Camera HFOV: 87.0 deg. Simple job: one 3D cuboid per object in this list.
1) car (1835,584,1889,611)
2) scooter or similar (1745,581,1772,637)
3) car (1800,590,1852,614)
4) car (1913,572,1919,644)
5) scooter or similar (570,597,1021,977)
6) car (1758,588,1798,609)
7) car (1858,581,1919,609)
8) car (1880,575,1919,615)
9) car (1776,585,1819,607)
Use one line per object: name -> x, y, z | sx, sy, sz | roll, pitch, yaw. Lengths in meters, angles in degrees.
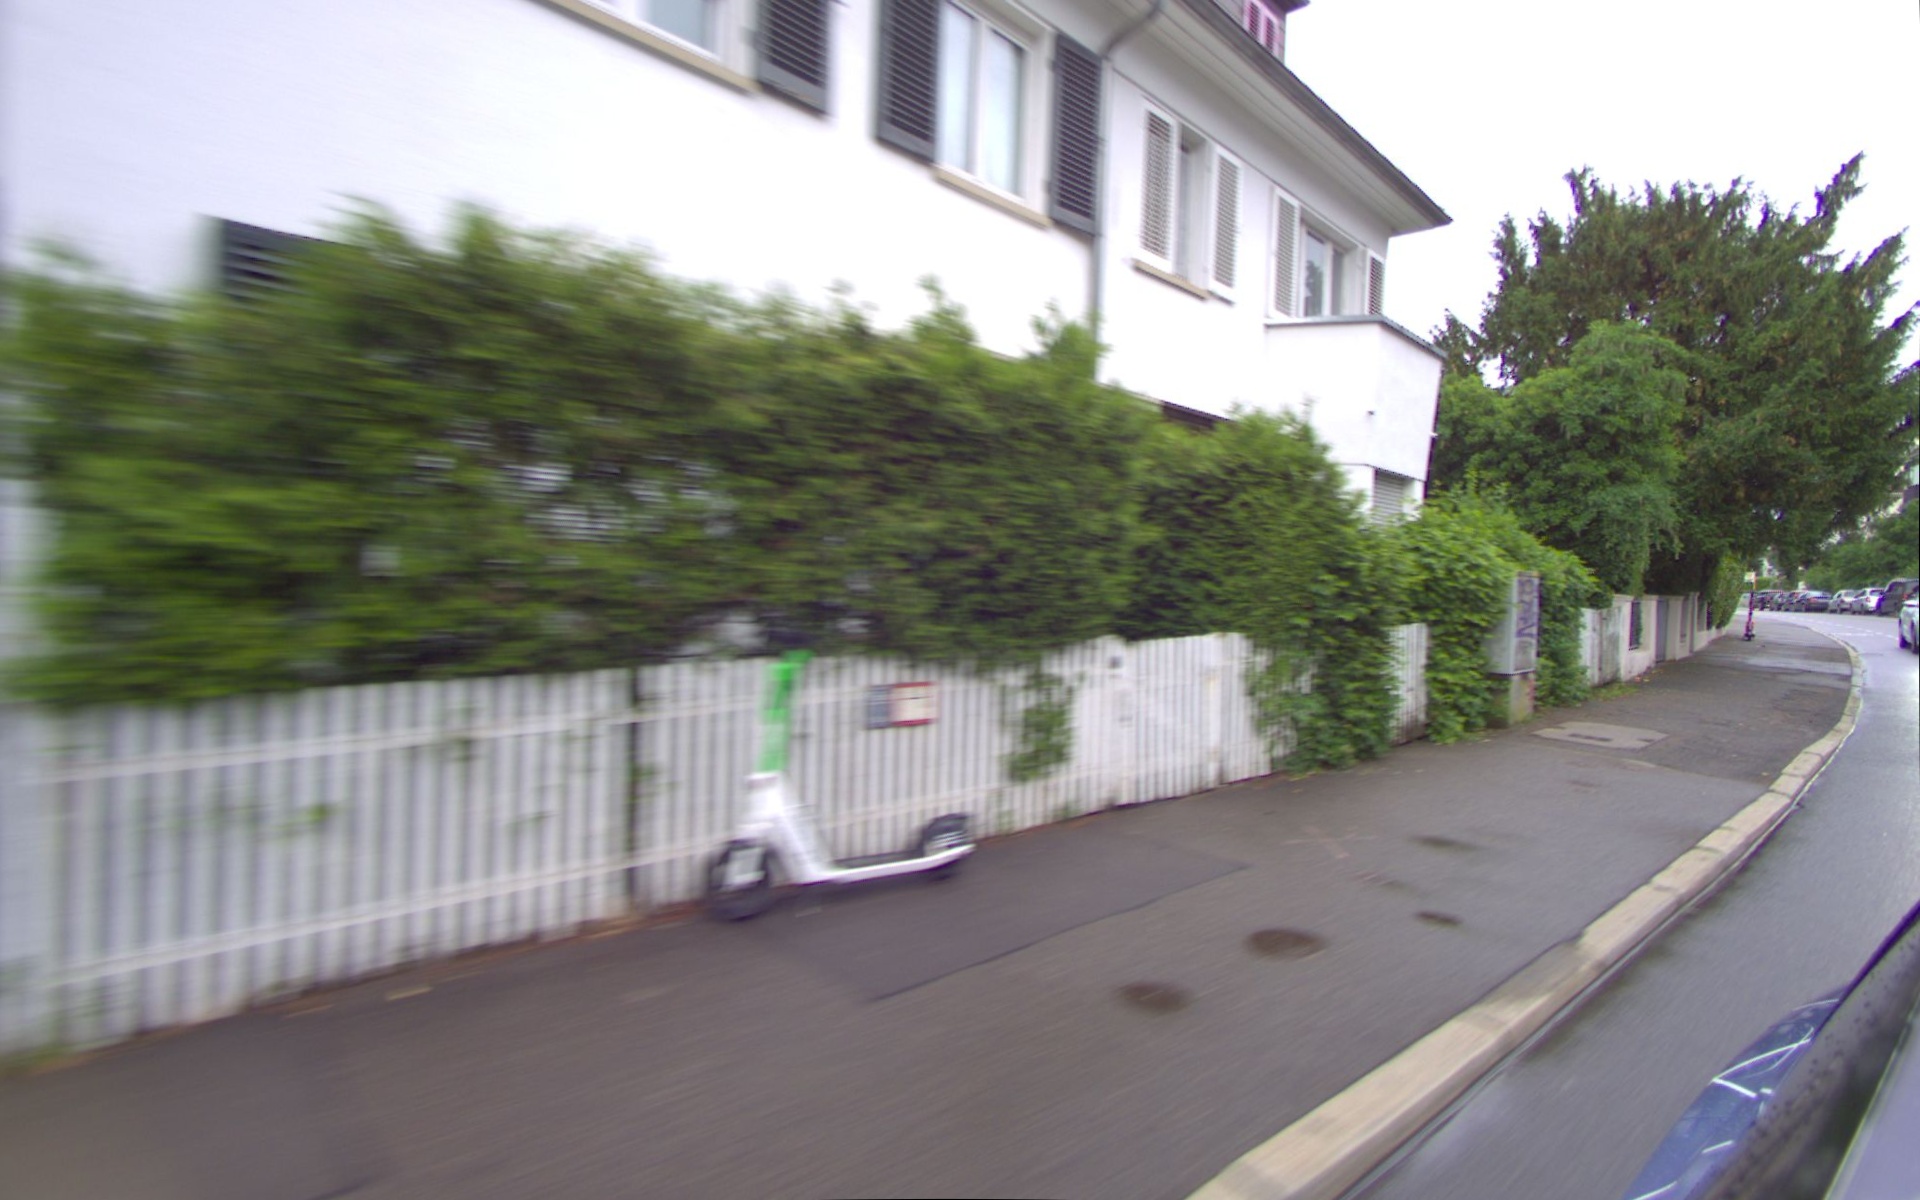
car -> 54.081, -0.127, 60.721 | 1.637, 1.465, 3.590 | 1, -1, 29
scooter or similar -> 19.680, 0.195, 24.954 | 0.449, 1.323, 1.461 | 3, 3, 38
car -> 57.592, 0.137, 67.382 | 1.746, 1.465, 4.370 | 1, -1, 29
car -> 23.711, 0.193, 23.631 | 1.858, 1.736, 3.942 | 1, 0, 40
scooter or similar -> -0.572, 0.615, 4.110 | 1.834, 1.215, 0.457 | -1, 1, -41
car -> 64.010, -0.100, 79.219 | 1.884, 1.465, 3.771 | 1, -1, 31
car -> 51.332, -0.275, 56.017 | 1.685, 1.465, 3.773 | 1, 1, 30
car -> 48.076, -0.260, 50.608 | 1.983, 1.902, 5.298 | 0, 0, 31
car -> 60.594, -0.275, 73.289 | 1.687, 1.560, 3.775 | 1, 0, 29
